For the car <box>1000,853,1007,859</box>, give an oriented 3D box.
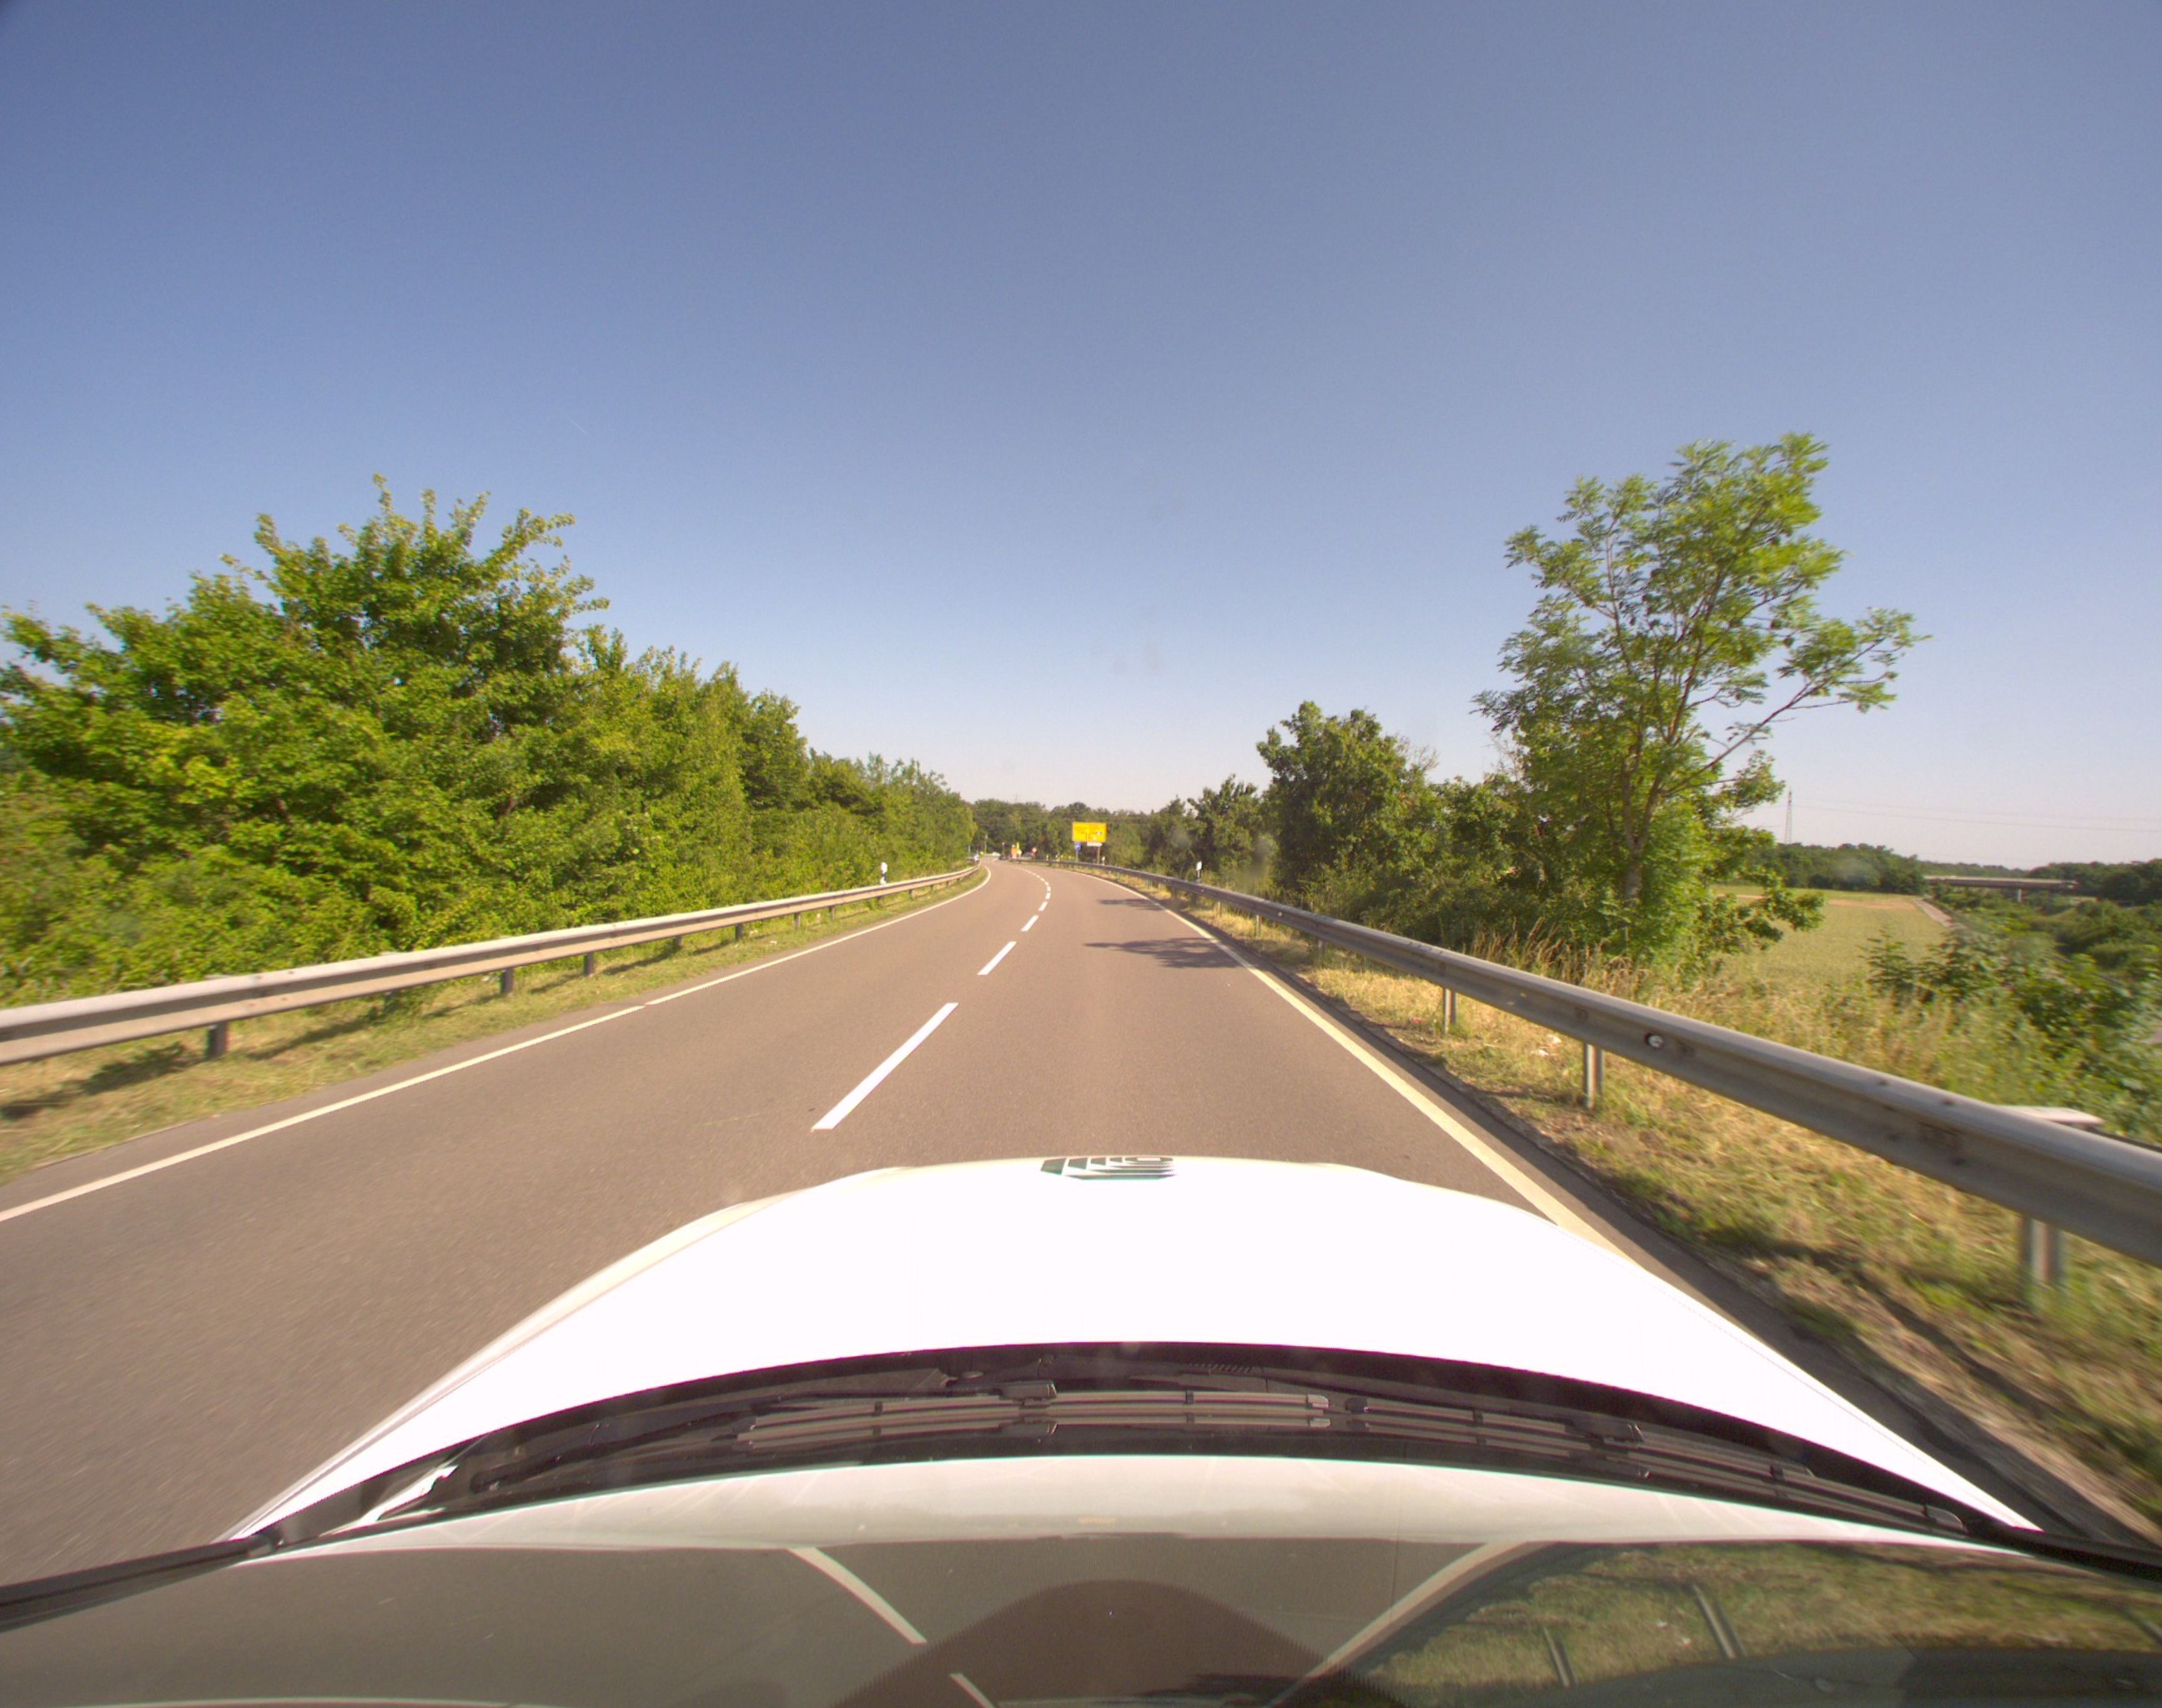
[{"bbox_3d":[-21.508,0.571,226.492,1.796,1.398,3.995,-6,0,-4],"label":"car"}]
